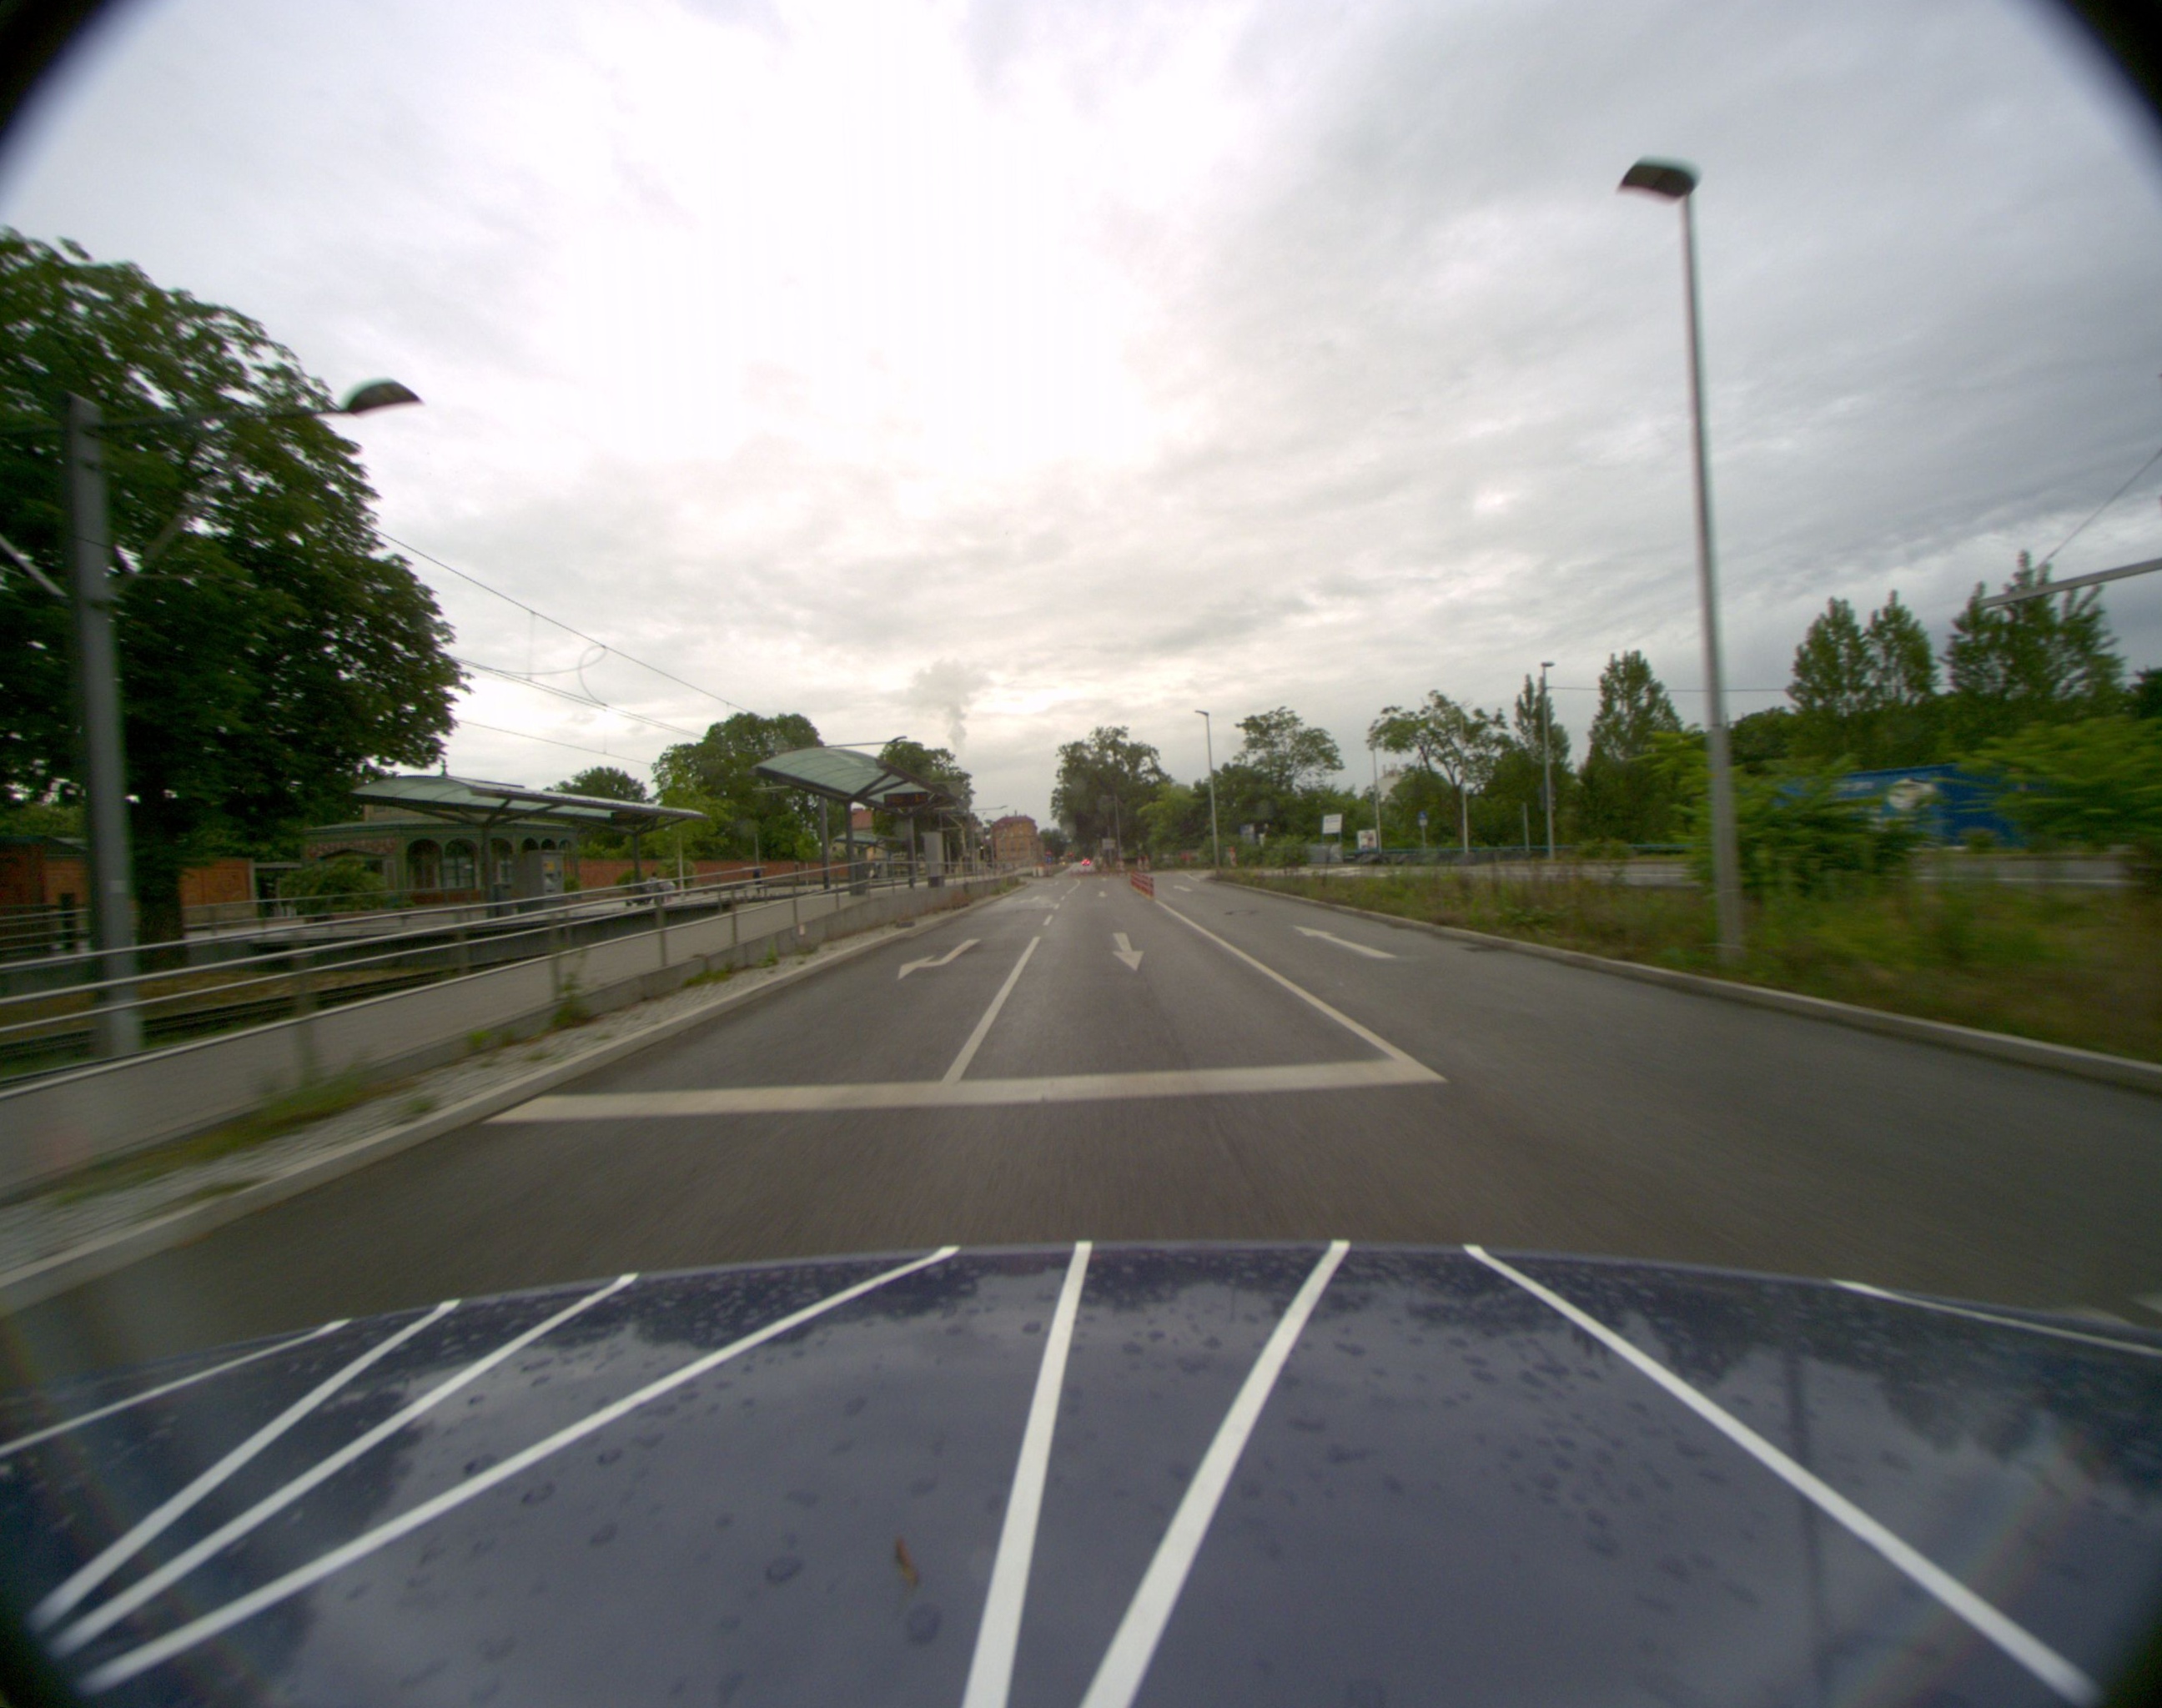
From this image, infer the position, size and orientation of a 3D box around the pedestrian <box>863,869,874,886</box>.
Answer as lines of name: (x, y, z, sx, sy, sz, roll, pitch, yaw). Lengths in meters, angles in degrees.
pedestrian: (-16.279, 1.800, 58.177, 0.520, 1.206, 0.782, -8, 1, -3)

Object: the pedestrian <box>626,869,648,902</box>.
pedestrian: (-16.813, 1.198, 28.783, 0.438, 1.219, 0.551, -3, 0, 1)

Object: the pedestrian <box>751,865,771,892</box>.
pedestrian: (-21.517, 1.642, 51.104, 0.722, 1.779, 1.182, -2, 0, 1)

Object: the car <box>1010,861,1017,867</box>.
car: (-19.775, 2.838, 221.520, 1.844, 1.630, 4.141, -7, 1, -4)

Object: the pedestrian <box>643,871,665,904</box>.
pedestrian: (-16.263, 1.265, 28.945, 0.438, 1.219, 0.551, -3, 0, 1)

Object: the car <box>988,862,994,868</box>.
car: (-28.495, 3.550, 240.013, 1.831, 1.573, 3.998, -4, 0, -6)

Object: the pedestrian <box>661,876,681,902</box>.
pedestrian: (-16.126, 1.369, 29.905, 0.438, 1.003, 0.551, -3, 0, 1)

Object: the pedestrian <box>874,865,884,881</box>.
pedestrian: (-15.675, 1.480, 58.895, 0.602, 1.112, 0.520, -8, 1, -15)
